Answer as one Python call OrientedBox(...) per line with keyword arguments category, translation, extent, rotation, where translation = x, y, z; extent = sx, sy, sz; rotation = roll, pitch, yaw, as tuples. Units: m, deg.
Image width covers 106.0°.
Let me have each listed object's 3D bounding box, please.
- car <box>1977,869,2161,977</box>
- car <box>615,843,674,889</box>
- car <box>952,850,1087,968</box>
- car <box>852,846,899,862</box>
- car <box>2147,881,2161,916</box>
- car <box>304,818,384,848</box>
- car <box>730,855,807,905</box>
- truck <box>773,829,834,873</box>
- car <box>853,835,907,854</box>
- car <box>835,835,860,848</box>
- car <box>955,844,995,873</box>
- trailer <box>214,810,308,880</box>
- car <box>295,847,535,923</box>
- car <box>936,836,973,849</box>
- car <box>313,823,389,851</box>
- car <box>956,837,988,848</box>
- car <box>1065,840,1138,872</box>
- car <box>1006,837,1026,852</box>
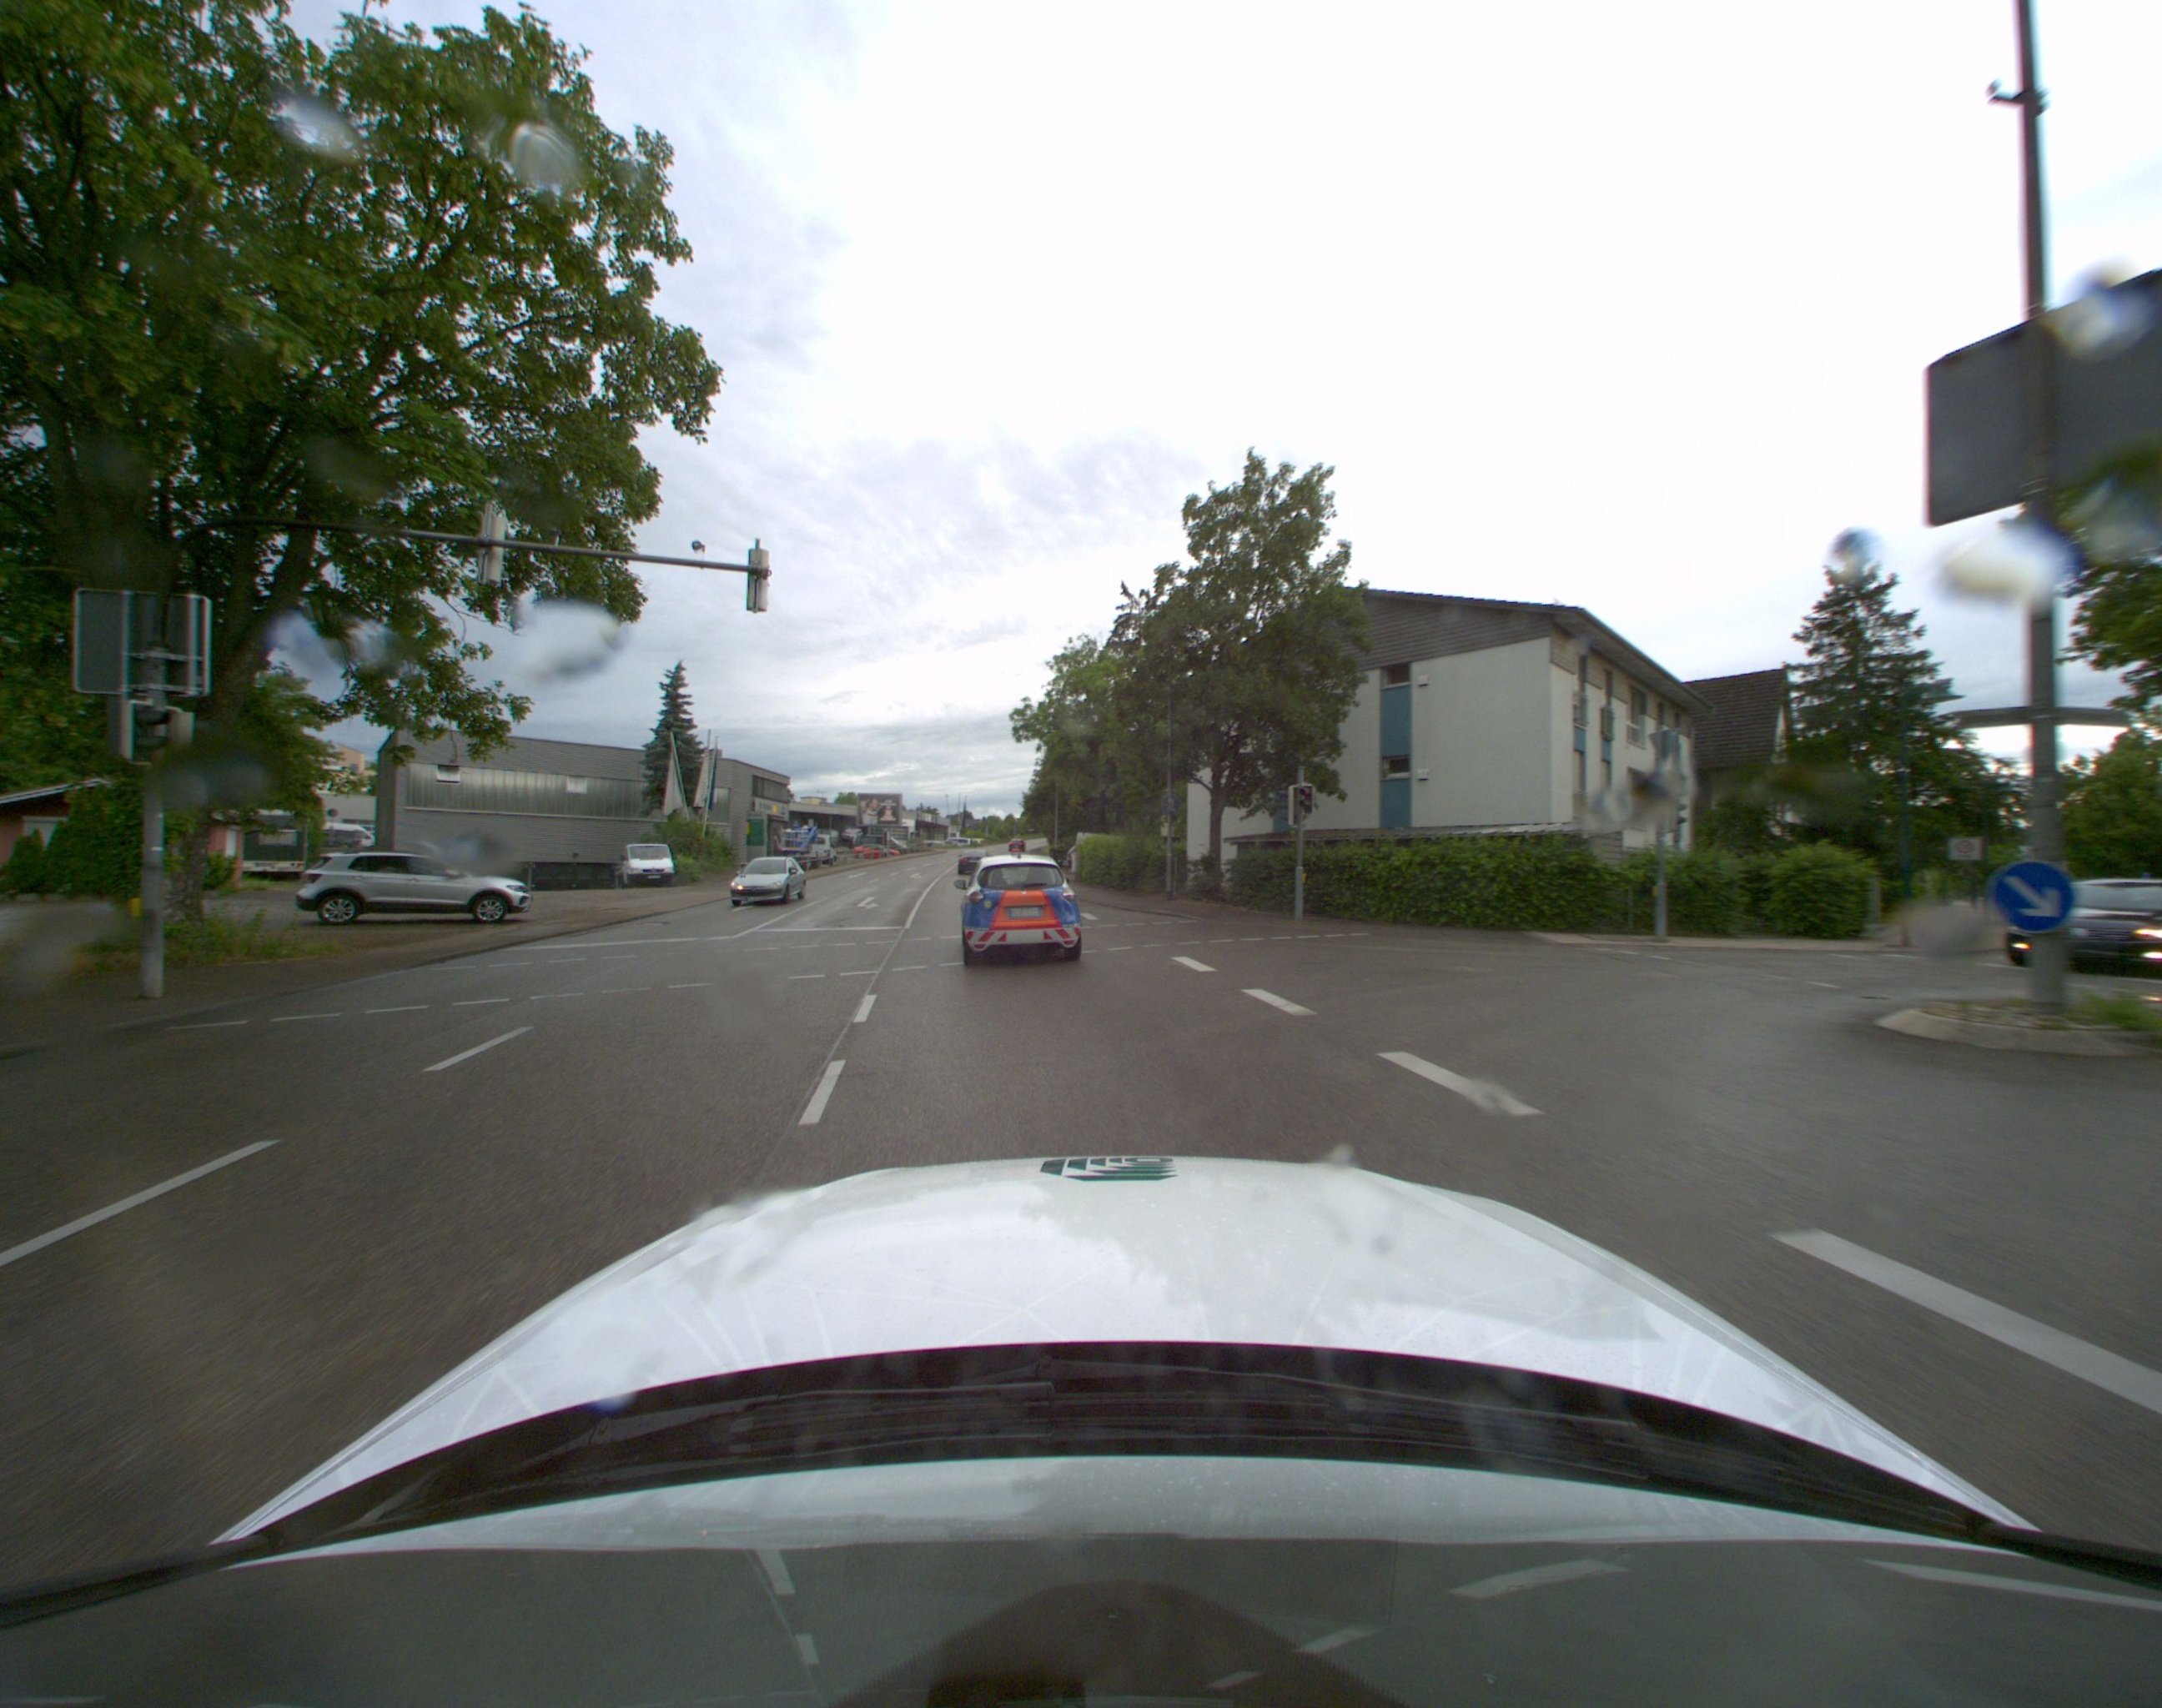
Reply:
OrientedBox(category="car", translation=(16.806, 1.058, 13.108), extent=(4.304, 1.452, 1.933), rotation=(2, 0, -24))
OrientedBox(category="car", translation=(-20.282, 0.493, 37.777), extent=(2.008, 1.994, 3.957), rotation=(0, 1, -35))
OrientedBox(category="car", translation=(-1.137, 0.767, 13.125), extent=(1.746, 1.581, 3.985), rotation=(0, -1, -11))
OrientedBox(category="car", translation=(-18.584, 0.003, 73.584), extent=(3.995, 1.376, 1.805), rotation=(1, 0, -16))
OrientedBox(category="car", translation=(66.657, 2.732, 49.704), extent=(3.735, 2.017, 1.629), rotation=(0, 0, -43))
OrientedBox(category="car", translation=(-60.664, -1.663, 67.136), extent=(4.682, 2.305, 2.025), rotation=(1, -1, -38))
OrientedBox(category="car", translation=(-9.884, 0.772, 25.970), extent=(1.587, 1.404, 3.695), rotation=(0, 1, -10))
OrientedBox(category="truck", translation=(-16.899, -0.227, 49.940), extent=(1.988, 2.539, 5.555), rotation=(1, 1, -2))
OrientedBox(category="car", translation=(-18.877, -0.891, 76.635), extent=(4.752, 1.623, 1.810), rotation=(1, -1, -8))
OrientedBox(category="car", translation=(-29.060, -1.577, 101.373), extent=(1.583, 1.515, 4.006), rotation=(1, 0, 6))
OrientedBox(category="car", translation=(-5.979, 0.231, 46.473), extent=(1.989, 1.574, 3.995), rotation=(0, 1, -4))
OrientedBox(category="trailer", translation=(-35.178, -0.344, 34.927), extent=(4.964, 2.763, 2.634), rotation=(0, -1, 44))
OrientedBox(category="car", translation=(-15.082, 0.739, 18.670), extent=(4.019, 1.522, 1.739), rotation=(4, -2, -40))
OrientedBox(category="car", translation=(-17.650, -1.607, 113.824), extent=(4.789, 1.623, 1.796), rotation=(1, -1, -33))
OrientedBox(category="car", translation=(-63.110, -1.421, 70.553), extent=(4.682, 2.305, 2.215), rotation=(1, -1, -38))
OrientedBox(category="car", translation=(-17.818, -1.925, 133.376), extent=(4.789, 1.623, 1.796), rotation=(1, -1, -33))
OrientedBox(category="car", translation=(1.132, 0.103, 45.784), extent=(3.977, 1.723, 1.998), rotation=(0, 1, -3))
OrientedBox(category="car", translation=(-7.615, -1.075, 96.043), extent=(1.987, 1.684, 4.000), rotation=(0, 0, 0))
